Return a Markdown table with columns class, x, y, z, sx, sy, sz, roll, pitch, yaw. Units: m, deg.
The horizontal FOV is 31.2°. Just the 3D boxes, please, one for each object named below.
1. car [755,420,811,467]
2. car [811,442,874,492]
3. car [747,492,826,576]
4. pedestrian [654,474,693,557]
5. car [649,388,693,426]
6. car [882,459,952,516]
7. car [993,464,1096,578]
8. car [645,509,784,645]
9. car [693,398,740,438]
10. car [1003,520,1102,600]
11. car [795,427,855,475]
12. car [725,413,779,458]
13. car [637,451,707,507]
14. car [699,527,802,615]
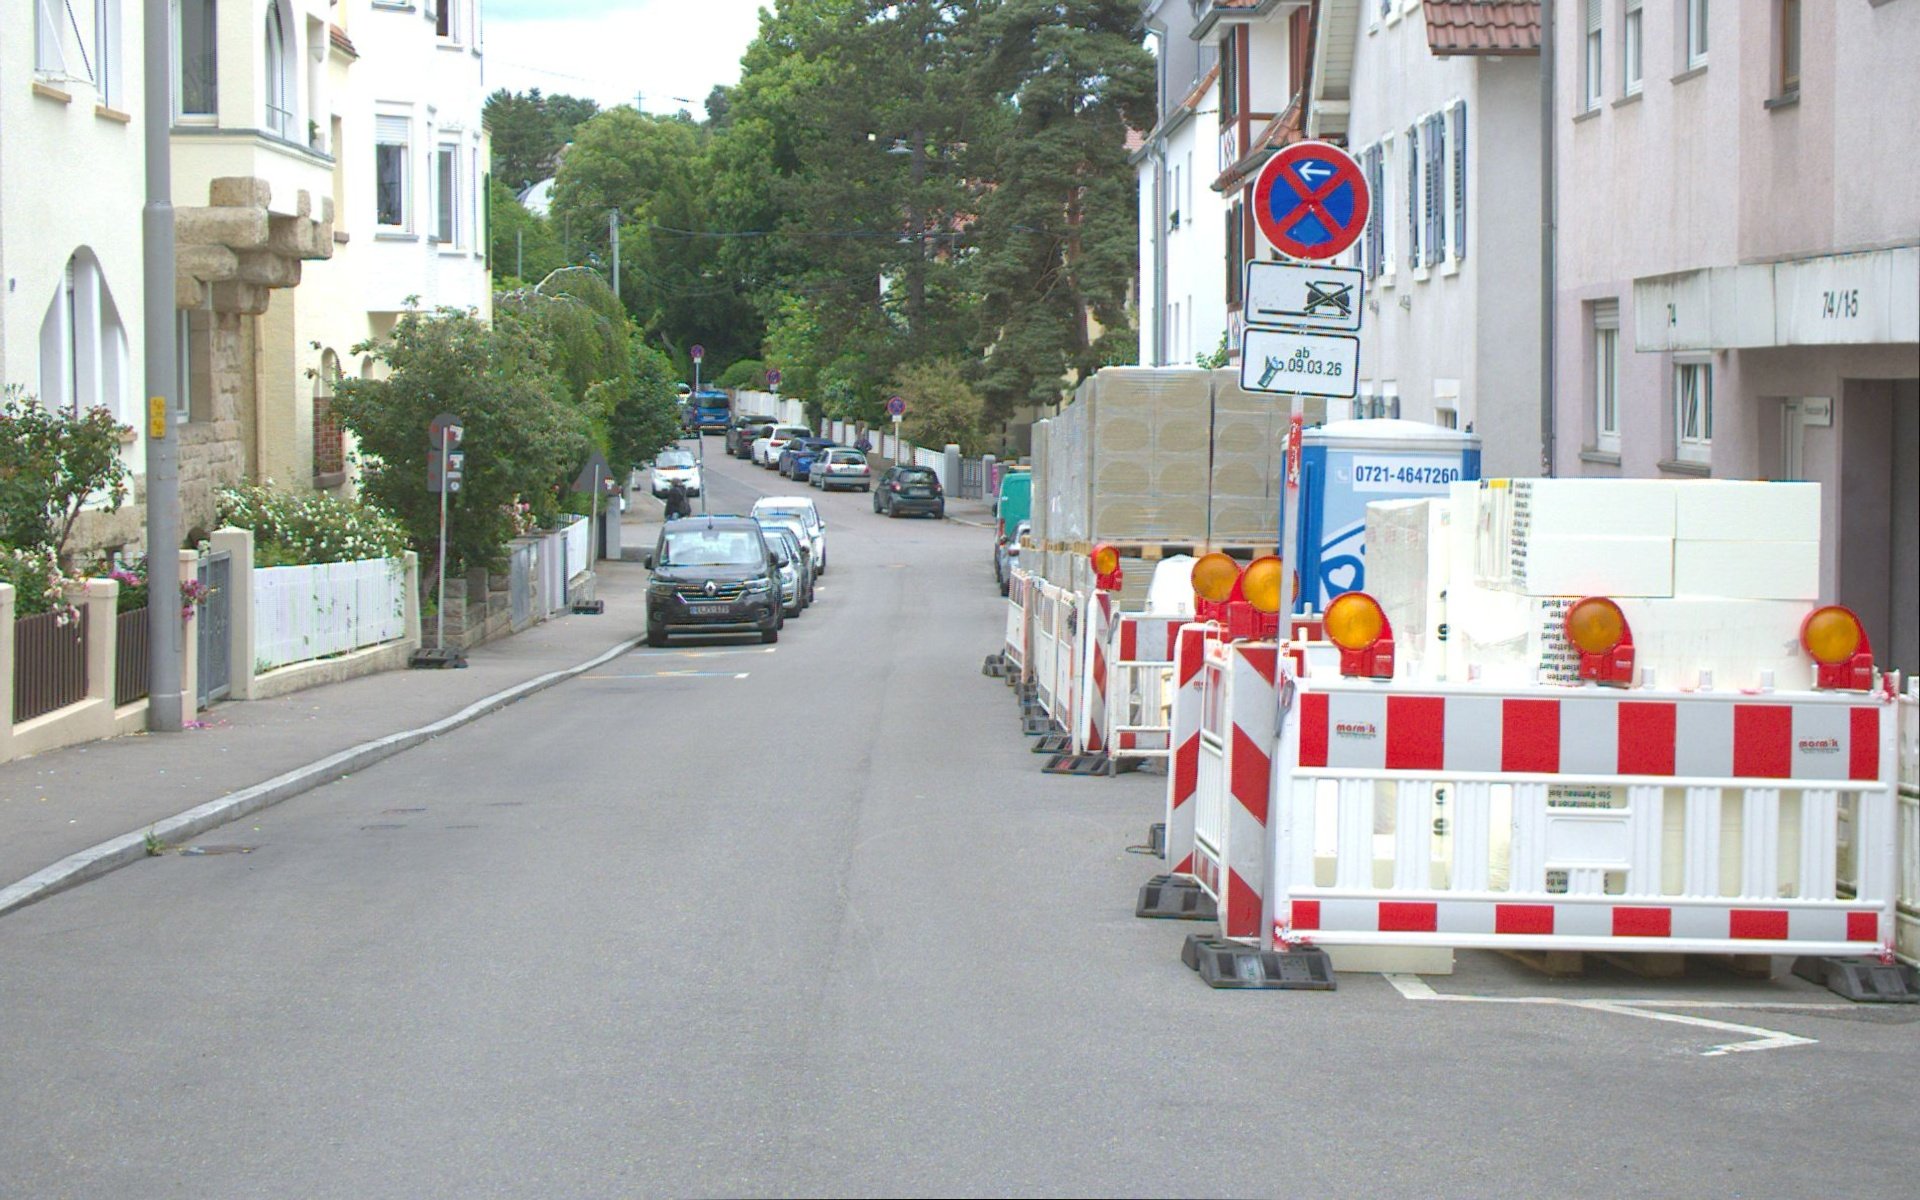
| class | x | y | z | sx | sy | sz | roll | pitch | yaw |
| --- | --- | --- | --- | --- | --- | --- | --- | --- | --- |
| car | -6.528 | -5.767 | 126.536 | 1.634 | 1.532 | 3.532 | 1 | 5 | -10 |
| car | -3.976 | -4.503 | 115.956 | 1.634 | 1.478 | 3.532 | 1 | 5 | -10 |
| car | -3.891 | -1.514 | 77.546 | 1.672 | 1.651 | 3.864 | -1 | 4 | -2 |
| pedestrian | -6.789 | -2.009 | 81.444 | 0.791 | 1.926 | 0.919 | 1 | 2 | 2 |
| car | -13.195 | -8.815 | 156.799 | 1.634 | 1.532 | 3.532 | 1 | 5 | -10 |
| car | -1.325 | -3.430 | 104.214 | 1.634 | 1.478 | 3.532 | 1 | 5 | -9 |
| car | 1.785 | -1.730 | 73.886 | 1.980 | 2.354 | 4.278 | 0 | 3 | -2 |
| car | -3.465 | -0.367 | 48.684 | 1.844 | 1.809 | 4.545 | -1 | 1 | -4 |
| car | -10.406 | -7.772 | 146.700 | 1.634 | 1.532 | 3.532 | 1 | 5 | -10 |
| car | 1.787 | -0.812 | 67.469 | 1.725 | 1.443 | 3.881 | 0 | 3 | -2 |
| car | -4.738 | -5.237 | 120.464 | 1.634 | 1.478 | 3.532 | 1 | 5 | -10 |
| car | -8.006 | -6.346 | 132.213 | 1.634 | 1.532 | 3.532 | 1 | 5 | -10 |
| car | -9.495 | -4.014 | 113.264 | 1.672 | 1.651 | 3.865 | -2 | 5 | -14 |
| car | -3.580 | -0.529 | 59.242 | 1.642 | 1.412 | 3.984 | -1 | 2 | -2 |
